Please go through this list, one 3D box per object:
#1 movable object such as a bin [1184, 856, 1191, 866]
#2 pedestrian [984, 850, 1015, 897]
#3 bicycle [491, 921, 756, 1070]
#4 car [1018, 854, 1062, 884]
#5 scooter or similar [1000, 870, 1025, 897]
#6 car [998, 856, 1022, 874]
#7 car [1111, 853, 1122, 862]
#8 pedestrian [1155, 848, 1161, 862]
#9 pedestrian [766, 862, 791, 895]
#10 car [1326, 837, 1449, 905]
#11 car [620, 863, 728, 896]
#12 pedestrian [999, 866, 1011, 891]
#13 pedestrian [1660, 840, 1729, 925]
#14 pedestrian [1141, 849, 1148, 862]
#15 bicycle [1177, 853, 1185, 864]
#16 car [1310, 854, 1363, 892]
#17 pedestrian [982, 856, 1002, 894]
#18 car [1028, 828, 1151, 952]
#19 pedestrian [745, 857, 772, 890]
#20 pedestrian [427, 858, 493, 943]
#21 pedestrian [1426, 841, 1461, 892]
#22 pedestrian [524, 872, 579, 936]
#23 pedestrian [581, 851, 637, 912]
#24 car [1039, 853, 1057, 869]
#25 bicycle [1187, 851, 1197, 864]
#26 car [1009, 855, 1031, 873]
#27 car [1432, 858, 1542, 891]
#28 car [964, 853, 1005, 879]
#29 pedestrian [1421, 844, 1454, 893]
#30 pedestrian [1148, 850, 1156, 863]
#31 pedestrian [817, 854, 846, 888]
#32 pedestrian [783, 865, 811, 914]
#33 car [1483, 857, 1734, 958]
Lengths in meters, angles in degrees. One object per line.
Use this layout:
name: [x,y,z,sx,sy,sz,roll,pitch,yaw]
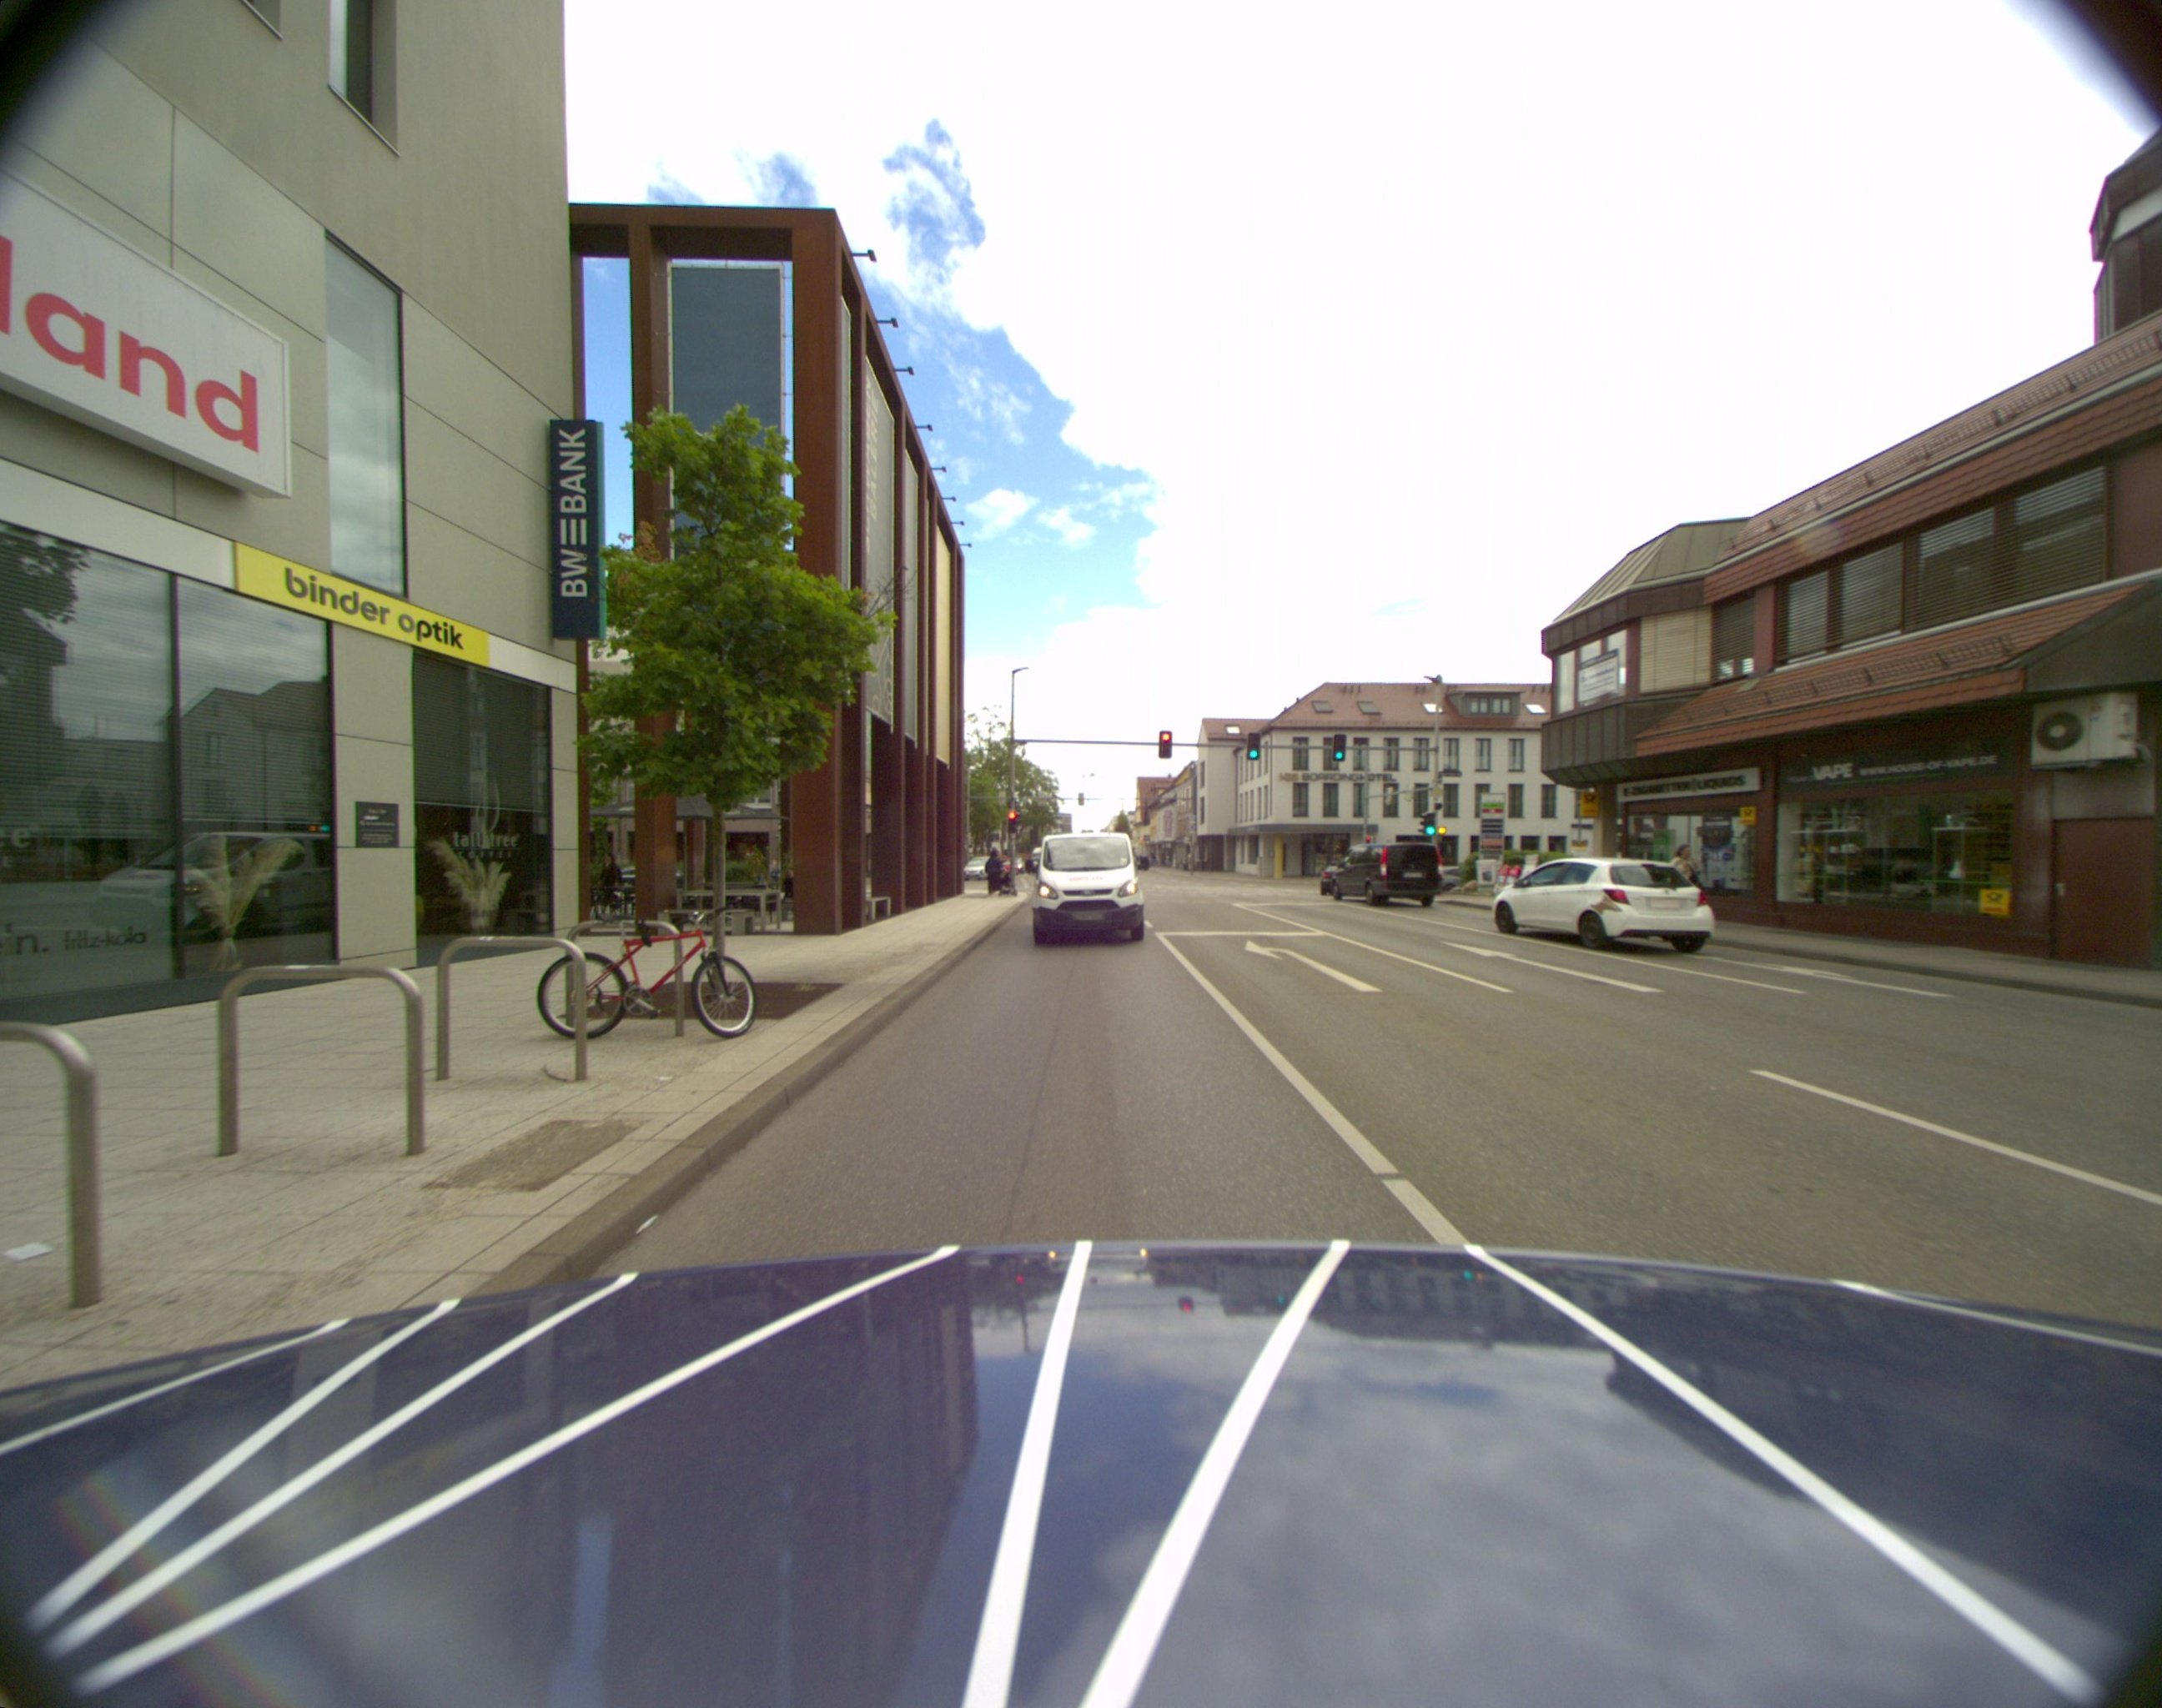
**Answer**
movable object such as a bin: [10.454,0.698,74.762,0.552,0.894,0.507,-1,1,-1]
pedestrian: [-2.919,0.681,27.210,0.870,1.637,0.681,0,1,35]
bicycle: [-3.430,1.042,5.795,1.564,0.987,0.752,0,1,4]
car: [-2.092,0.756,40.035,1.998,1.490,4.000,0,1,1]
scooter or similar: [-2.510,1.069,27.766,0.633,0.956,0.622,0,1,34]
car: [-6.097,0.935,65.539,1.630,1.440,3.641,-3,1,0]
car: [6.205,0.603,132.254,1.748,1.450,4.235,0,0,0]
pedestrian: [10.125,0.159,100.337,0.708,1.771,0.870,0,1,2]
pedestrian: [-14.695,1.185,36.920,0.832,1.549,0.969,-1,1,-1]
car: [9.506,0.459,24.089,1.870,1.899,5.113,0,1,1]
car: [-19.512,1.196,36.547,4.184,1.396,1.800,-1,1,-2]
pedestrian: [-2.845,0.931,28.557,0.362,0.918,0.454,-1,1,3]
pedestrian: [12.417,0.564,15.398,0.751,1.683,0.777,-1,1,-4]
pedestrian: [8.054,0.241,96.742,0.812,1.651,0.920,-1,1,1]
bicycle: [10.330,0.438,78.847,0.573,1.094,1.902,-1,0,1]
car: [10.964,0.771,32.466,1.703,1.435,4.006,0,1,25]
pedestrian: [-3.340,0.789,28.547,0.602,1.412,0.582,-1,1,3]
car: [0.161,0.569,15.438,1.940,1.968,5.779,-3,0,0]
pedestrian: [-15.629,0.925,36.865,0.832,1.575,1.058,-1,1,-1]
pedestrian: [-11.023,0.804,13.502,0.647,1.460,0.606,-1,1,1]
pedestrian: [13.055,0.426,27.390,0.812,1.797,0.774,-1,1,-8]
pedestrian: [-10.402,0.963,14.947,0.516,1.201,0.795,-1,0,-2]
pedestrian: [-13.324,0.769,21.505,0.881,1.672,1.120,0,1,-3]
car: [-3.296,0.682,76.988,1.630,1.440,3.641,-3,1,0]
bicycle: [10.540,0.357,72.149,0.583,1.225,2.119,-1,1,-1]
car: [-5.820,0.919,72.507,1.802,1.521,3.999,-3,0,-2]
car: [19.534,0.971,36.660,4.384,1.508,1.764,1,0,-2]
car: [-6.801,0.815,53.859,1.743,1.691,4.382,-2,1,7]
pedestrian: [13.245,0.522,28.239,0.812,1.797,0.745,-1,1,-8]
pedestrian: [9.032,0.319,96.708,0.812,1.574,0.920,-1,1,1]
pedestrian: [-12.586,0.843,38.347,1.058,1.705,1.110,-1,1,-1]
pedestrian: [-7.231,0.894,19.357,0.448,1.213,0.606,-1,1,4]
car: [8.996,0.822,13.438,1.664,1.457,4.000,0,1,1]
